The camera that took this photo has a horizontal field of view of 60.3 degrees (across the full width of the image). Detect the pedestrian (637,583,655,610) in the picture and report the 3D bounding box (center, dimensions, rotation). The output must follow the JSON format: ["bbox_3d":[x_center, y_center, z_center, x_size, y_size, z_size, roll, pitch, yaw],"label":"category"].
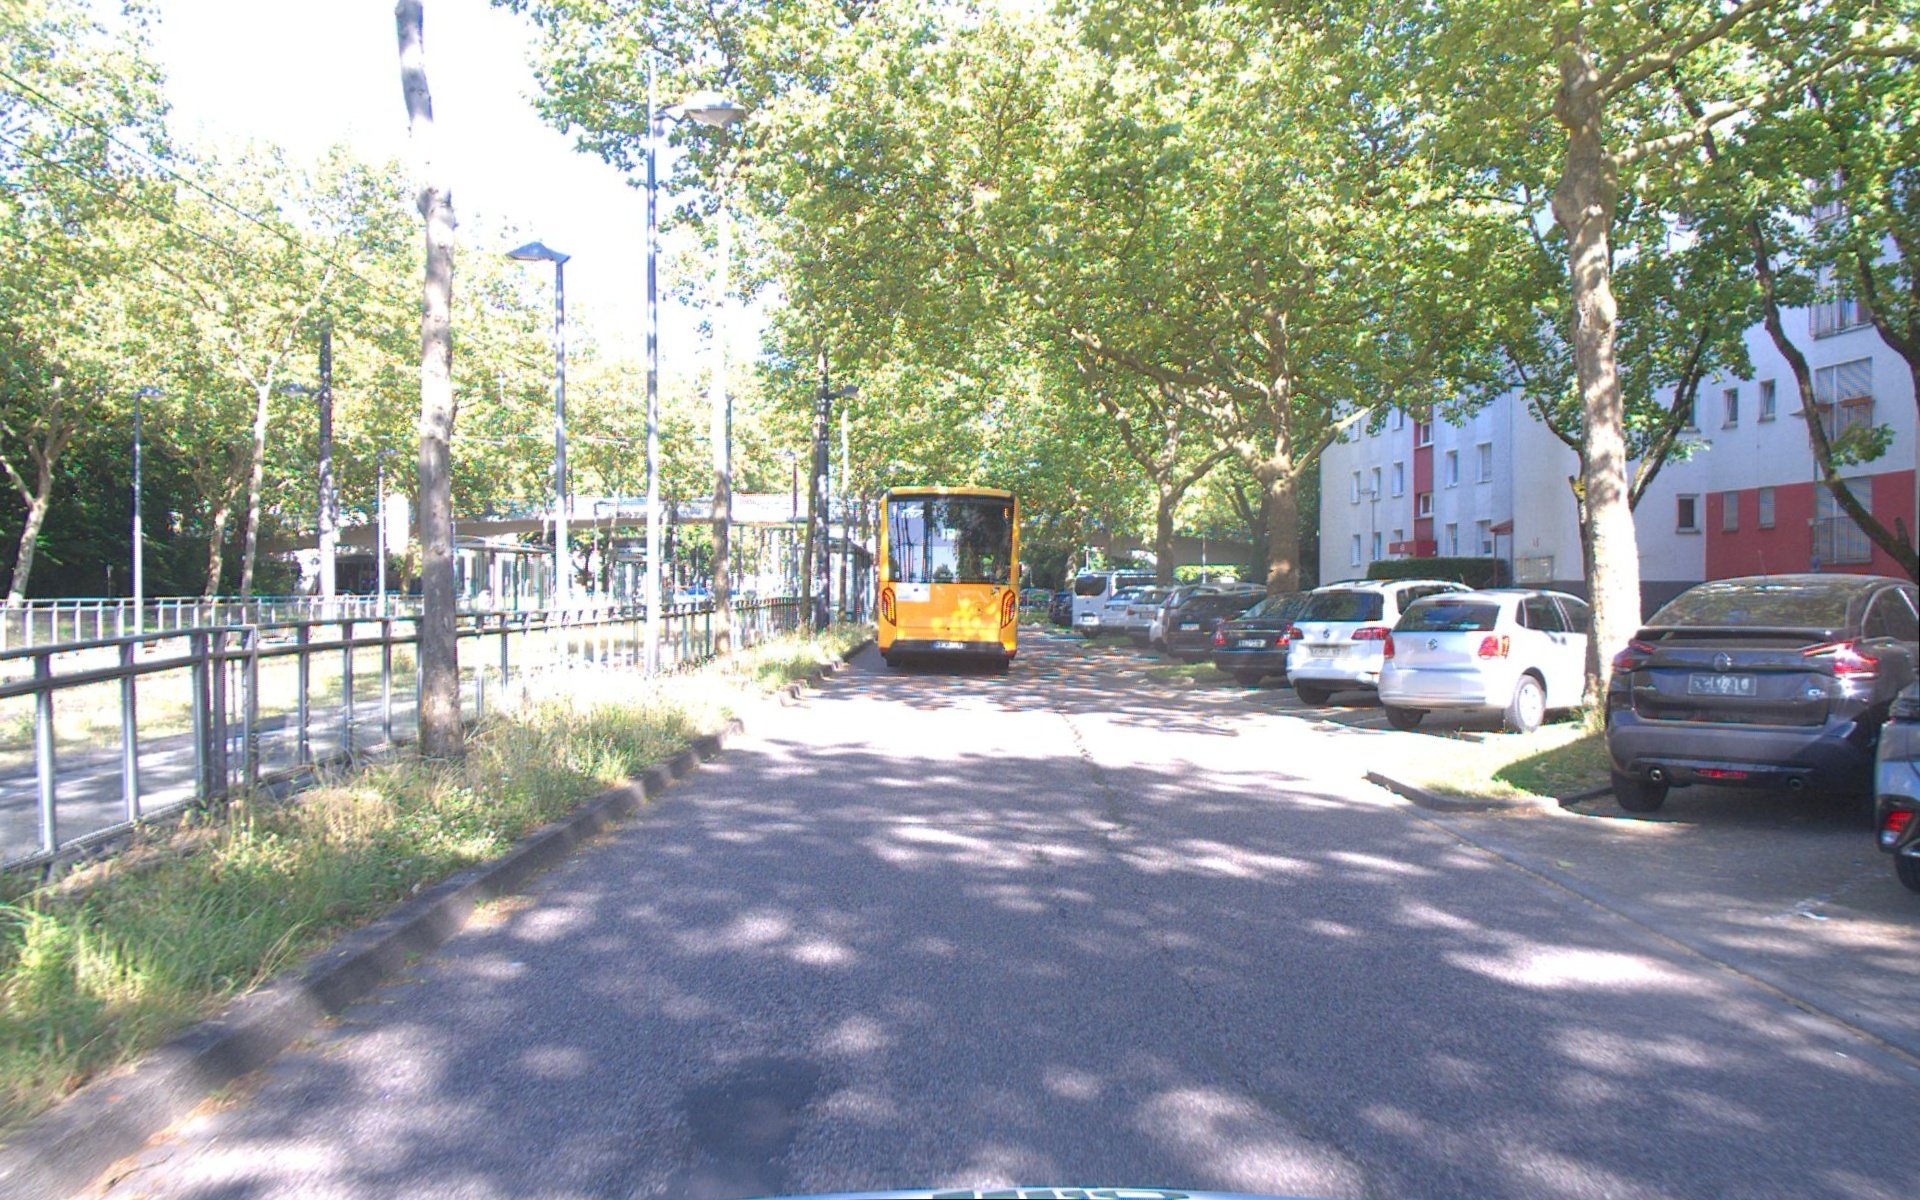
[{"bbox_3d":[-14.834,-0.174,78.154,0.762,1.259,0.722,0,0,-2],"label":"pedestrian"}]

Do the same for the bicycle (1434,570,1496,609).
[{"bbox_3d":[16.015,-0.335,52.503,1.760,1.149,0.549,-3,1,-6],"label":"bicycle"}]

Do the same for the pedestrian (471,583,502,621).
[{"bbox_3d":[-15.083,0.049,52.708,0.750,1.204,0.763,0,0,0],"label":"pedestrian"}]

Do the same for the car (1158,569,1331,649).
[{"bbox_3d":[6.382,0.183,36.923,3.969,1.617,1.771,-3,0,-44],"label":"car"}]

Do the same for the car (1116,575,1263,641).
[{"bbox_3d":[6.036,0.194,43.179,1.768,1.536,4.188,-2,1,42],"label":"car"}]

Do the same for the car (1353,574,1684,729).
[{"bbox_3d":[6.275,0.498,18.384,3.966,1.469,1.772,-2,1,-42],"label":"car"}]

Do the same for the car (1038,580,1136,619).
[{"bbox_3d":[5.512,-0.032,71.739,4.219,1.487,1.773,-3,0,-41],"label":"car"}]

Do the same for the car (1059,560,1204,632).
[{"bbox_3d":[5.492,-0.144,52.531,4.549,2.088,1.987,-3,0,-41],"label":"car"}]

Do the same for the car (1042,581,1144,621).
[{"bbox_3d":[5.538,0.043,68.537,4.219,1.487,1.773,-3,0,-41],"label":"car"}]

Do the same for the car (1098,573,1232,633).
[{"bbox_3d":[6.151,0.082,49.394,4.027,1.608,1.803,-3,1,-44],"label":"car"}]

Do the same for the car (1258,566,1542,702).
[{"bbox_3d":[5.958,0.391,22.192,3.965,1.603,1.773,-2,1,-41],"label":"car"}]

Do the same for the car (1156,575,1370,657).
[{"bbox_3d":[6.166,0.297,33.435,4.368,1.453,1.923,-3,0,-40],"label":"car"}]

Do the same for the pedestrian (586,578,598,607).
[{"bbox_3d":[-21.544,-0.443,96.809,0.635,1.690,0.649,0,0,-5],"label":"pedestrian"}]

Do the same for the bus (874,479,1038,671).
[{"bbox_3d":[-0.210,-0.469,34.919,2.841,3.324,12.214,0,0,-1],"label":"bus"}]

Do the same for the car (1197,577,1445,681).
[{"bbox_3d":[5.852,0.409,26.455,1.769,1.447,4.559,-1,1,44],"label":"car"}]

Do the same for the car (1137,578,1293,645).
[{"bbox_3d":[6.242,0.254,40.251,1.801,1.444,3.973,-2,1,44],"label":"car"}]

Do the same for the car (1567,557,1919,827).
[{"bbox_3d":[5.982,0.492,11.648,1.768,1.536,4.152,-1,1,42],"label":"car"}]

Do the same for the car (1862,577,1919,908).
[{"bbox_3d":[6.106,0.584,8.271,3.859,1.471,1.770,-2,1,-45],"label":"car"}]

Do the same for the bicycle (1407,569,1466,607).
[{"bbox_3d":[15.759,-0.396,54.734,1.760,1.149,0.549,-3,1,-6],"label":"bicycle"}]

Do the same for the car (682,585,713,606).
[{"bbox_3d":[-20.427,-0.395,128.679,1.757,1.608,4.288,0,0,0],"label":"car"}]

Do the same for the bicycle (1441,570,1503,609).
[{"bbox_3d":[16.082,-0.333,51.947,1.760,1.149,0.499,-3,1,-6],"label":"bicycle"}]

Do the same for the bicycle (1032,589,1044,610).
[{"bbox_3d":[4.743,-0.013,100.892,0.578,1.203,1.800,-3,1,-1],"label":"bicycle"}]

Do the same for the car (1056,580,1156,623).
[{"bbox_3d":[5.804,0.051,65.467,3.969,1.493,1.754,-3,1,-44],"label":"car"}]
